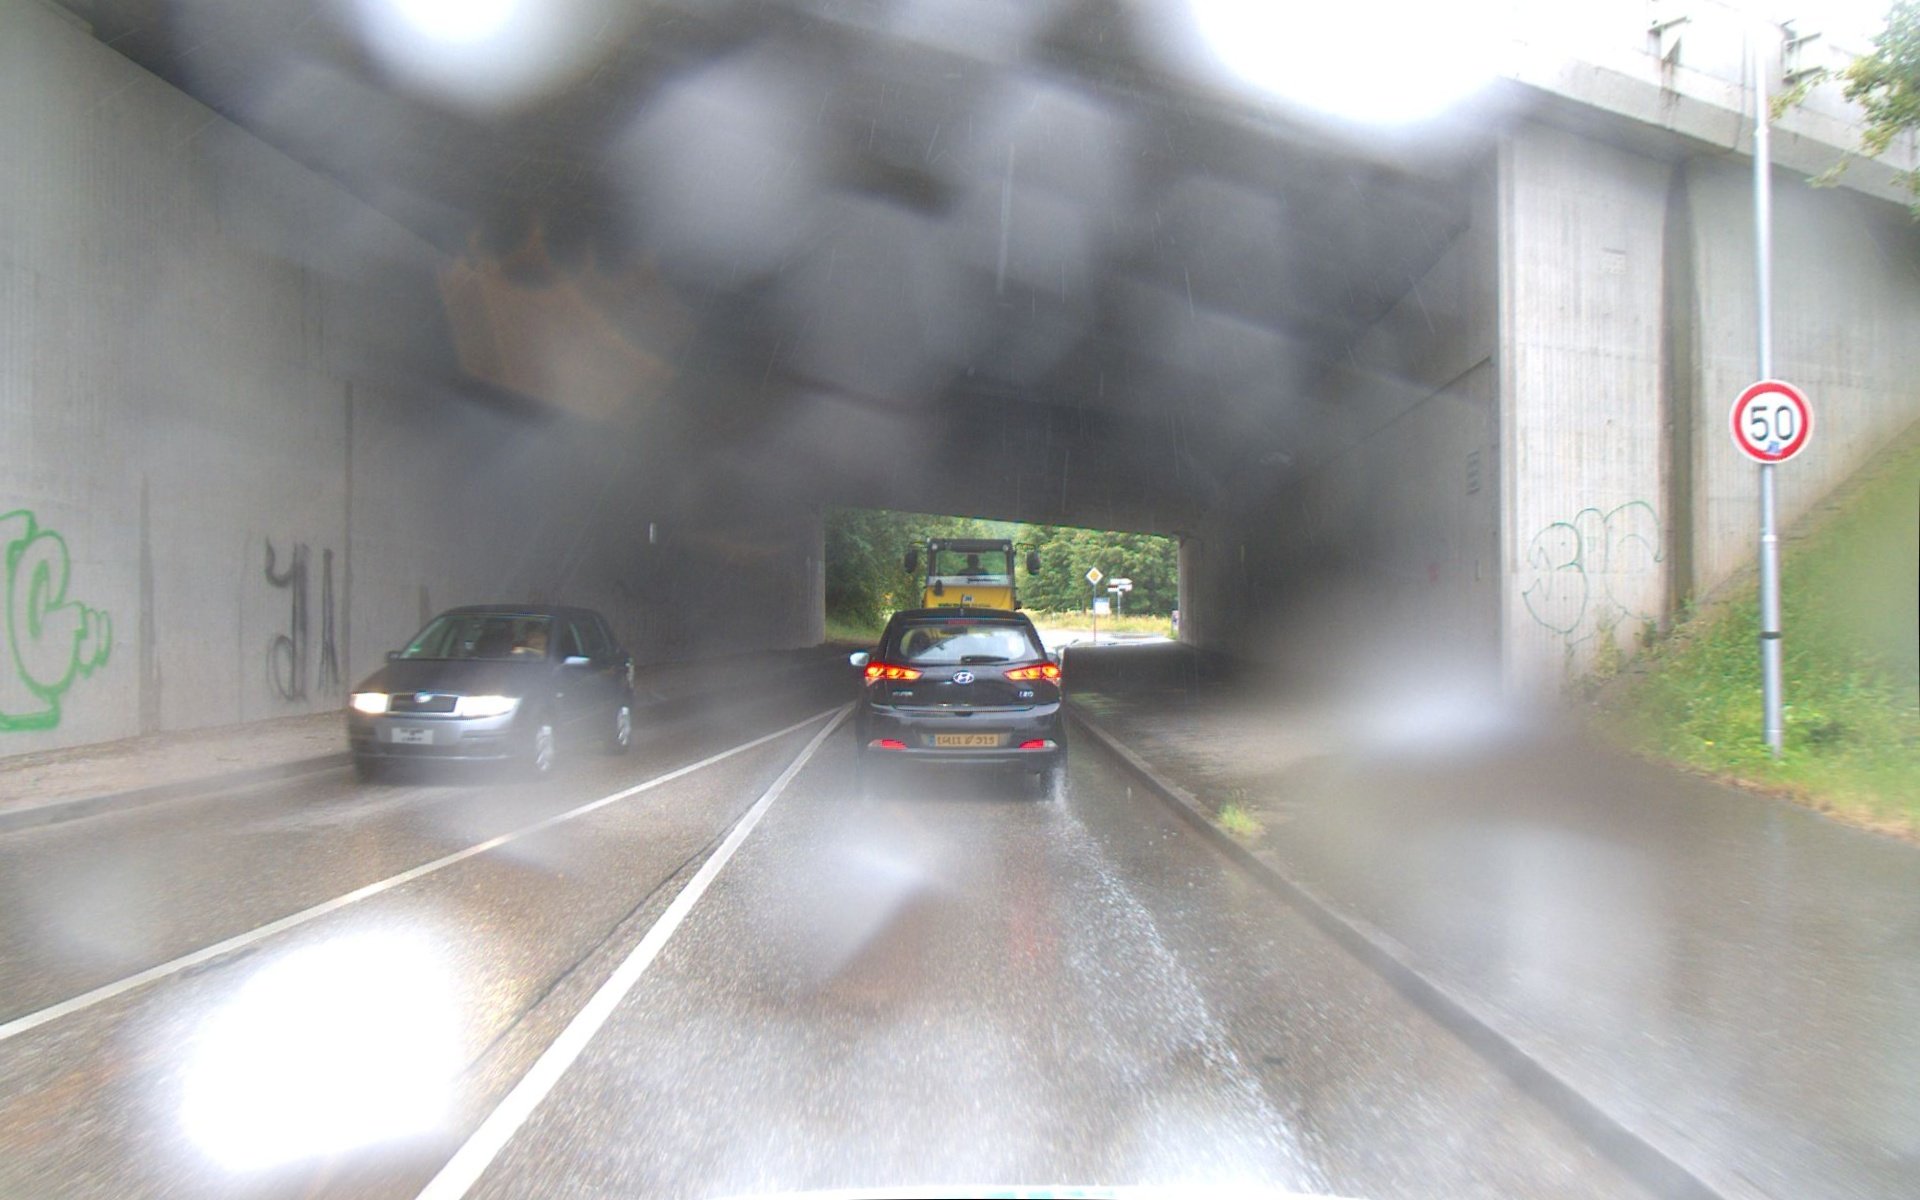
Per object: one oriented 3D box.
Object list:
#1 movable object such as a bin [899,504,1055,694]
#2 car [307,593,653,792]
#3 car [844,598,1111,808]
[{"bbox_3d":[0.275,0.015,27.409,2.199,2.716,6.626,2,-1,0],"label":"movable object such as a bin"},{"bbox_3d":[-4.076,0.723,14.768,1.655,1.513,4.074,1,0,4],"label":"car"},{"bbox_3d":[0.147,0.784,14.362,1.952,1.513,4.000,2,-1,0],"label":"car"}]
